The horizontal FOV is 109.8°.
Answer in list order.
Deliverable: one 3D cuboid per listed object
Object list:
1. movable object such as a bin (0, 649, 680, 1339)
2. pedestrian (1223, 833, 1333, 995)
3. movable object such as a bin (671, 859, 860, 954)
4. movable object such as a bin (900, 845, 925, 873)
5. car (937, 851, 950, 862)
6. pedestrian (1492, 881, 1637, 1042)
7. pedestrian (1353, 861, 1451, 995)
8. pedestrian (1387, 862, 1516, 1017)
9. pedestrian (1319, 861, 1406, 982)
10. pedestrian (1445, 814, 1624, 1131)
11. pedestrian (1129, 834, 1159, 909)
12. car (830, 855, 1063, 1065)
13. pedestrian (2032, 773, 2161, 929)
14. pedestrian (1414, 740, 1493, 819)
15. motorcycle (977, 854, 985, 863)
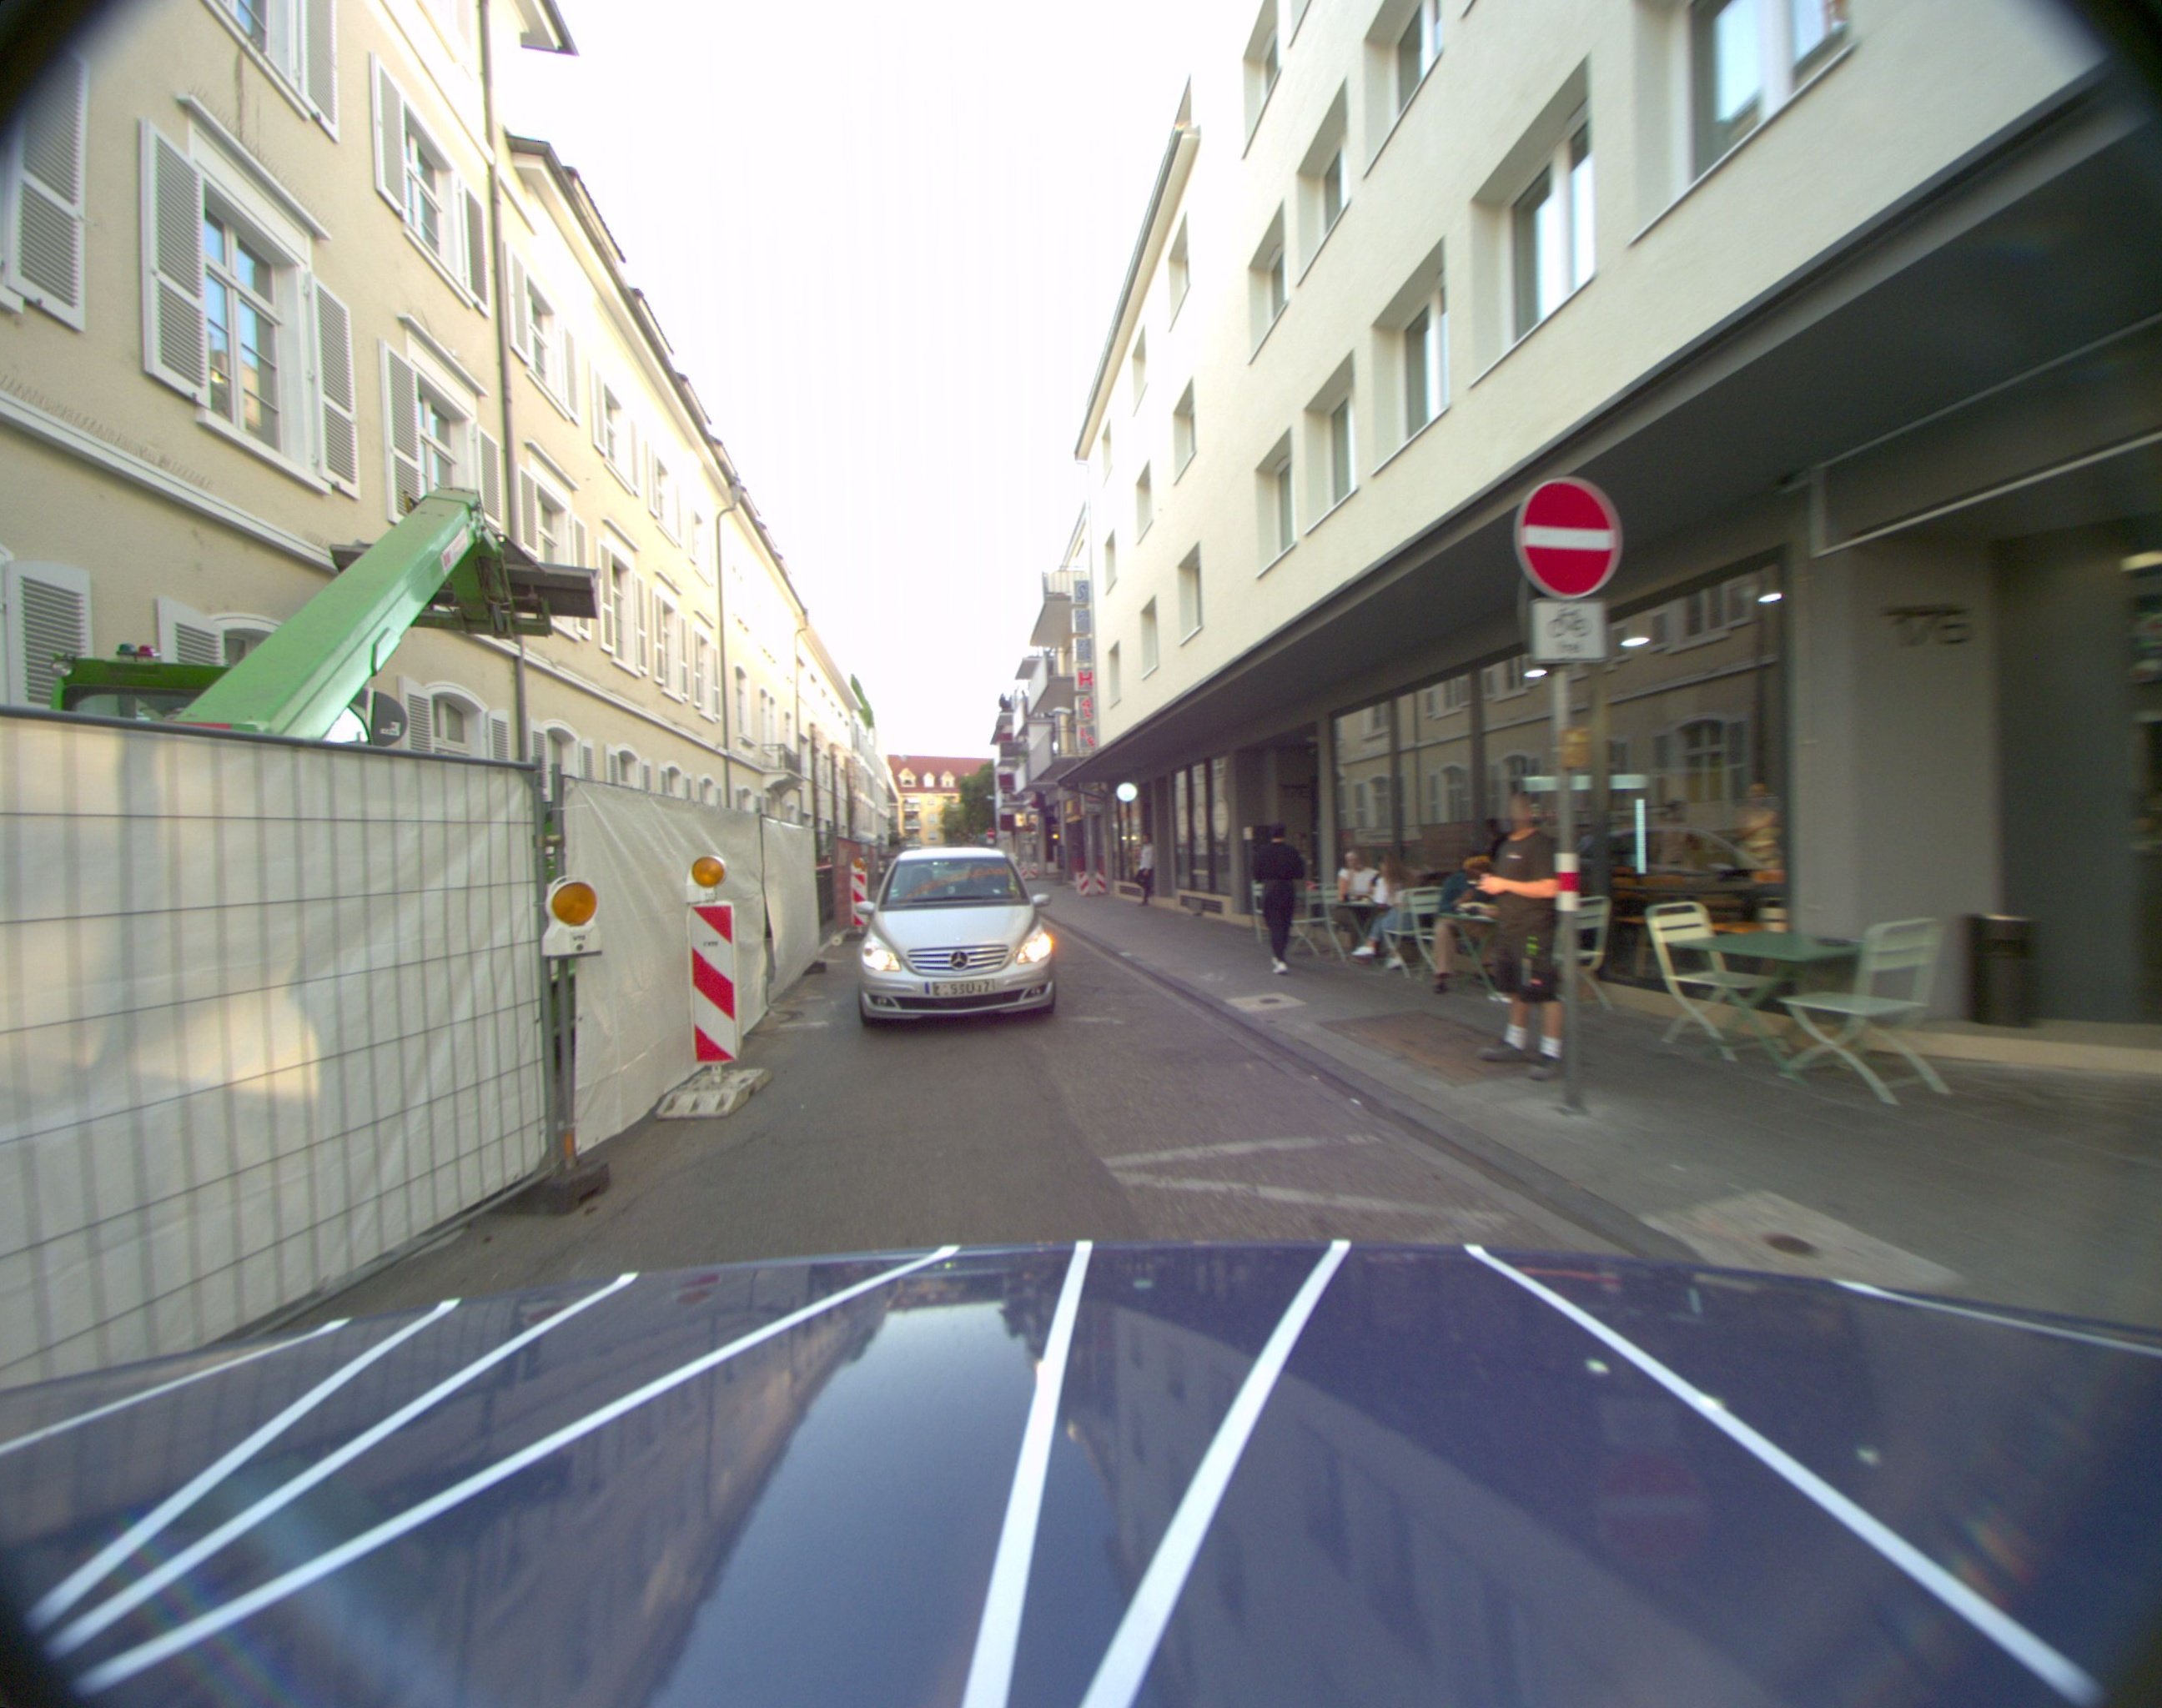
[{"bbox_3d":[-5.004,0.576,5.254,2.613,2.822,4.445,-1,1,-10],"label":"movable object such as a bin"},{"bbox_3d":[2.182,0.628,8.501,0.799,1.658,0.901,-4,2,-12],"label":"pedestrian"},{"bbox_3d":[-7.256,1.045,18.676,2.745,1.629,7.544,-3,1,-11],"label":"movable object such as a bin"},{"bbox_3d":[-17.229,0.493,77.883,2.022,2.608,5.746,-4,0,-9],"label":"movable object such as a bin"},{"bbox_3d":[-17.866,0.283,98.667,1.540,1.317,3.350,-2,1,-10],"label":"car"},{"bbox_3d":[3.723,0.794,5.898,0.575,1.107,0.713,-4,1,-10],"label":"pedestrian"},{"bbox_3d":[3.285,0.724,7.817,0.575,1.268,0.713,-4,1,-10],"label":"pedestrian"},{"bbox_3d":[3.331,0.732,6.882,0.704,1.268,0.713,-4,1,-10],"label":"pedestrian"},{"bbox_3d":[3.180,0.738,8.623,0.575,1.268,0.713,-4,1,-10],"label":"pedestrian"},{"bbox_3d":[2.619,0.627,4.412,0.507,1.658,0.686,-5,2,-34],"label":"pedestrian"},{"bbox_3d":[1.563,0.428,18.928,0.532,1.824,0.562,-2,1,-16],"label":"pedestrian"},{"bbox_3d":[-1.418,0.858,8.201,1.806,1.607,4.269,-1,0,-10],"label":"car"},{"bbox_3d":[8.881,-0.043,6.514,0.674,1.253,0.653,-4,1,-14],"label":"pedestrian"},{"bbox_3d":[11.451,-2.157,23.262,1.995,2.002,4.007,-1,1,28],"label":"pedestrian"},{"bbox_3d":[-14.576,0.669,111.149,0.859,1.345,1.958,-2,1,-1],"label":"motorcycle"}]
